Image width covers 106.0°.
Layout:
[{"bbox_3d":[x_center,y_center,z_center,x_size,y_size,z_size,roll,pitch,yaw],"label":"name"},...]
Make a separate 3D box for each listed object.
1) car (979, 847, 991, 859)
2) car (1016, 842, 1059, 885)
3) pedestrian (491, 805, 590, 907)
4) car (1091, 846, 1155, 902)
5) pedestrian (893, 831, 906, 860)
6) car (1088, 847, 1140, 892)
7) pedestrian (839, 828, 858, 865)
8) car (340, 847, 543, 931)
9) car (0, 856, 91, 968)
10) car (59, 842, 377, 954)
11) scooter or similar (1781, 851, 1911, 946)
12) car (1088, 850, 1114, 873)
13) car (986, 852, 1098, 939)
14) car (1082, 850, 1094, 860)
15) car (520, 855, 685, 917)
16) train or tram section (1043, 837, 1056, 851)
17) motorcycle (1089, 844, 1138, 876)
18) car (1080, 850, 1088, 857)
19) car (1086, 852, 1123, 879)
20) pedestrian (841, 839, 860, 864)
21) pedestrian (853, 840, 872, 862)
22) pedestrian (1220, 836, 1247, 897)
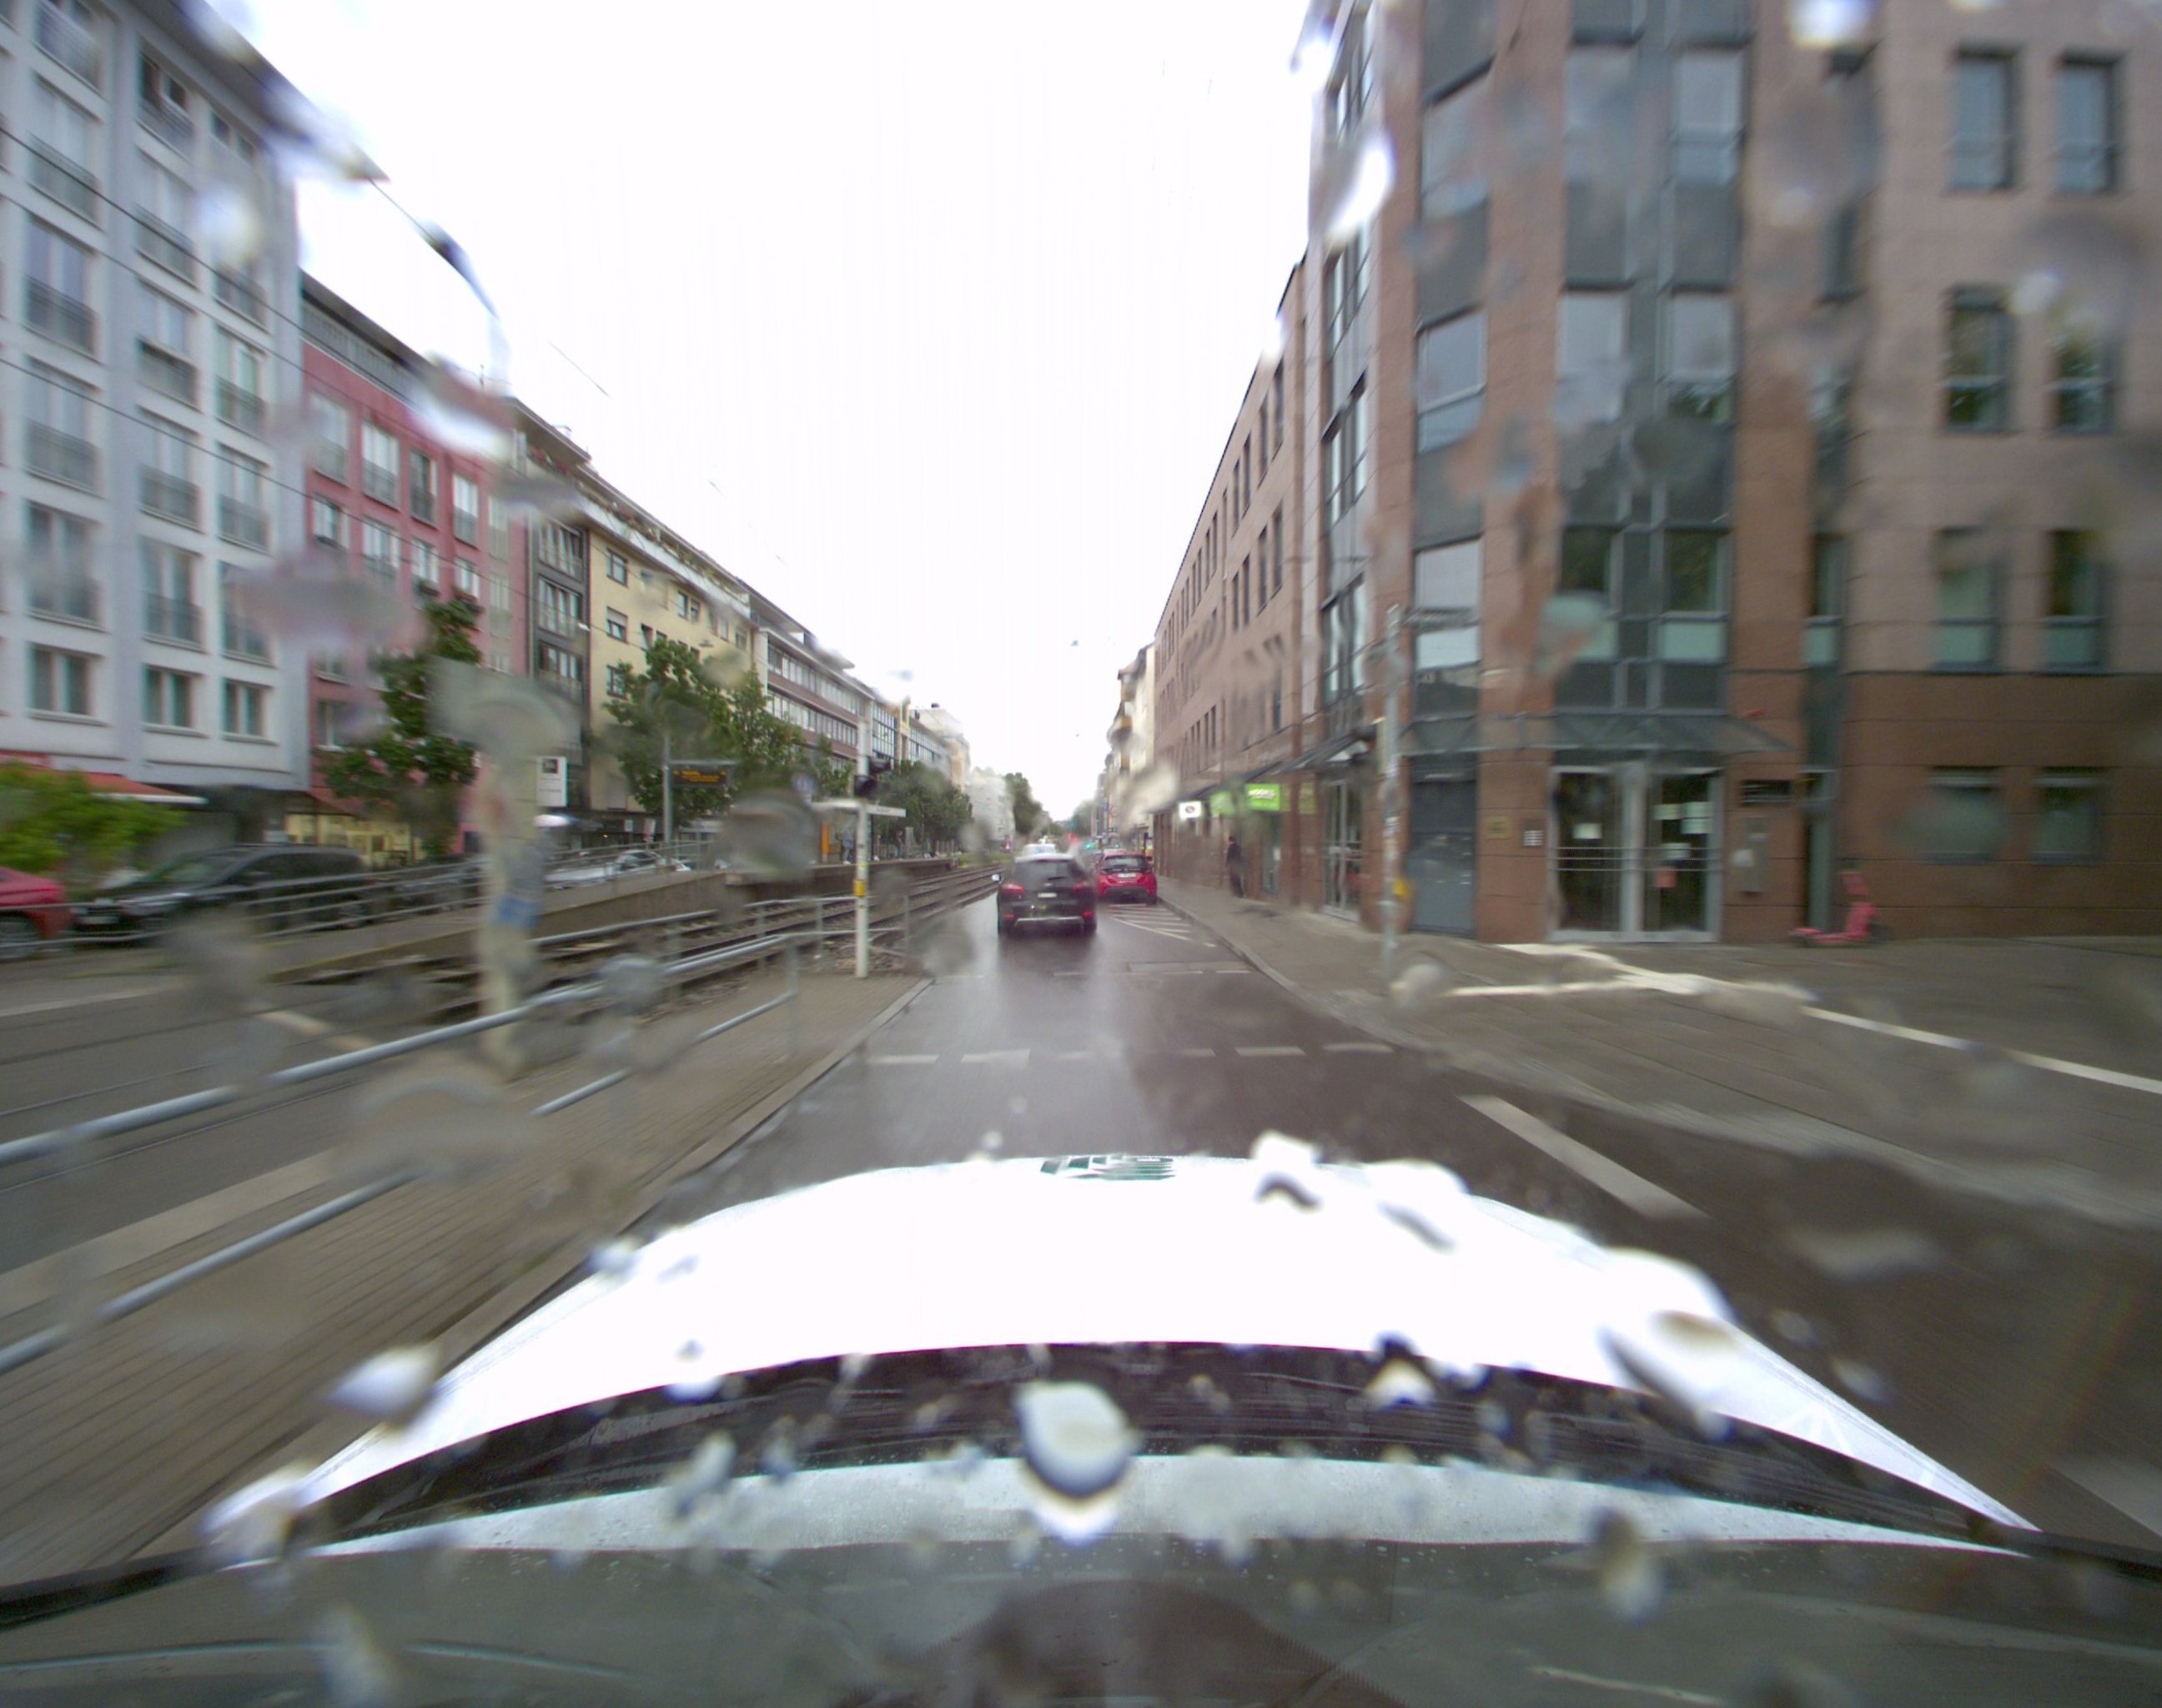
[{"bbox_3d":[-16.724,-0.162,142.112,1.902,1.865,4.568,-1,-1,-3],"label":"car"},{"bbox_3d":[-2.043,0.441,38.360,1.902,1.865,4.568,-1,-1,-3],"label":"car"},{"bbox_3d":[-11.213,0.053,16.947,1.112,2.014,1.383,-1,-1,-1],"label":"pedestrian"},{"bbox_3d":[1.188,0.567,24.294,1.692,1.479,3.868,-3,-1,1],"label":"car"},{"bbox_3d":[-11.422,-0.528,51.305,0.654,1.801,0.849,-1,0,-3],"label":"pedestrian"},{"bbox_3d":[1.148,0.542,29.533,1.693,1.462,3.866,-3,-1,0],"label":"car"},{"bbox_3d":[-10.809,-0.345,37.933,0.654,1.711,0.849,-1,0,-3],"label":"pedestrian"},{"bbox_3d":[-15.910,0.788,20.606,1.798,1.858,4.376,-1,0,-3],"label":"car"},{"bbox_3d":[-16.466,0.865,10.511,1.720,1.611,4.553,-1,0,1],"label":"car"},{"bbox_3d":[-16.435,0.734,15.909,1.703,1.858,4.316,-1,0,-3],"label":"car"},{"bbox_3d":[10.250,0.589,10.926,1.368,1.227,0.326,-1,-1,2],"label":"scooter or similar"},{"bbox_3d":[1.511,0.559,62.043,1.802,1.631,5.167,-1,0,-1],"label":"car"},{"bbox_3d":[-0.652,0.727,15.653,1.900,1.462,3.444,-1,-1,0],"label":"car"},{"bbox_3d":[1.226,0.194,132.981,1.900,1.633,4.574,-1,-1,1],"label":"car"},{"bbox_3d":[-13.656,0.838,23.675,1.801,1.578,5.021,-1,0,0],"label":"car"},{"bbox_3d":[-9.141,-2.885,234.628,3.505,3.777,11.319,-1,0,-3],"label":"train or tram section"},{"bbox_3d":[1.471,0.292,37.038,2.067,1.407,0.802,-1,-1,18],"label":"motorcycle"},{"bbox_3d":[0.707,-0.084,195.036,1.900,1.633,4.574,-1,-1,1],"label":"car"},{"bbox_3d":[1.296,0.654,47.079,1.770,1.468,4.605,-1,0,-3],"label":"car"},{"bbox_3d":[-11.334,-0.120,40.021,0.691,1.249,0.883,-1,0,-3],"label":"pedestrian"},{"bbox_3d":[-11.397,-0.142,42.453,0.892,1.123,0.847,-1,0,-11],"label":"pedestrian"},{"bbox_3d":[4.259,0.347,22.740,0.600,1.659,0.625,-1,-1,0],"label":"pedestrian"}]
